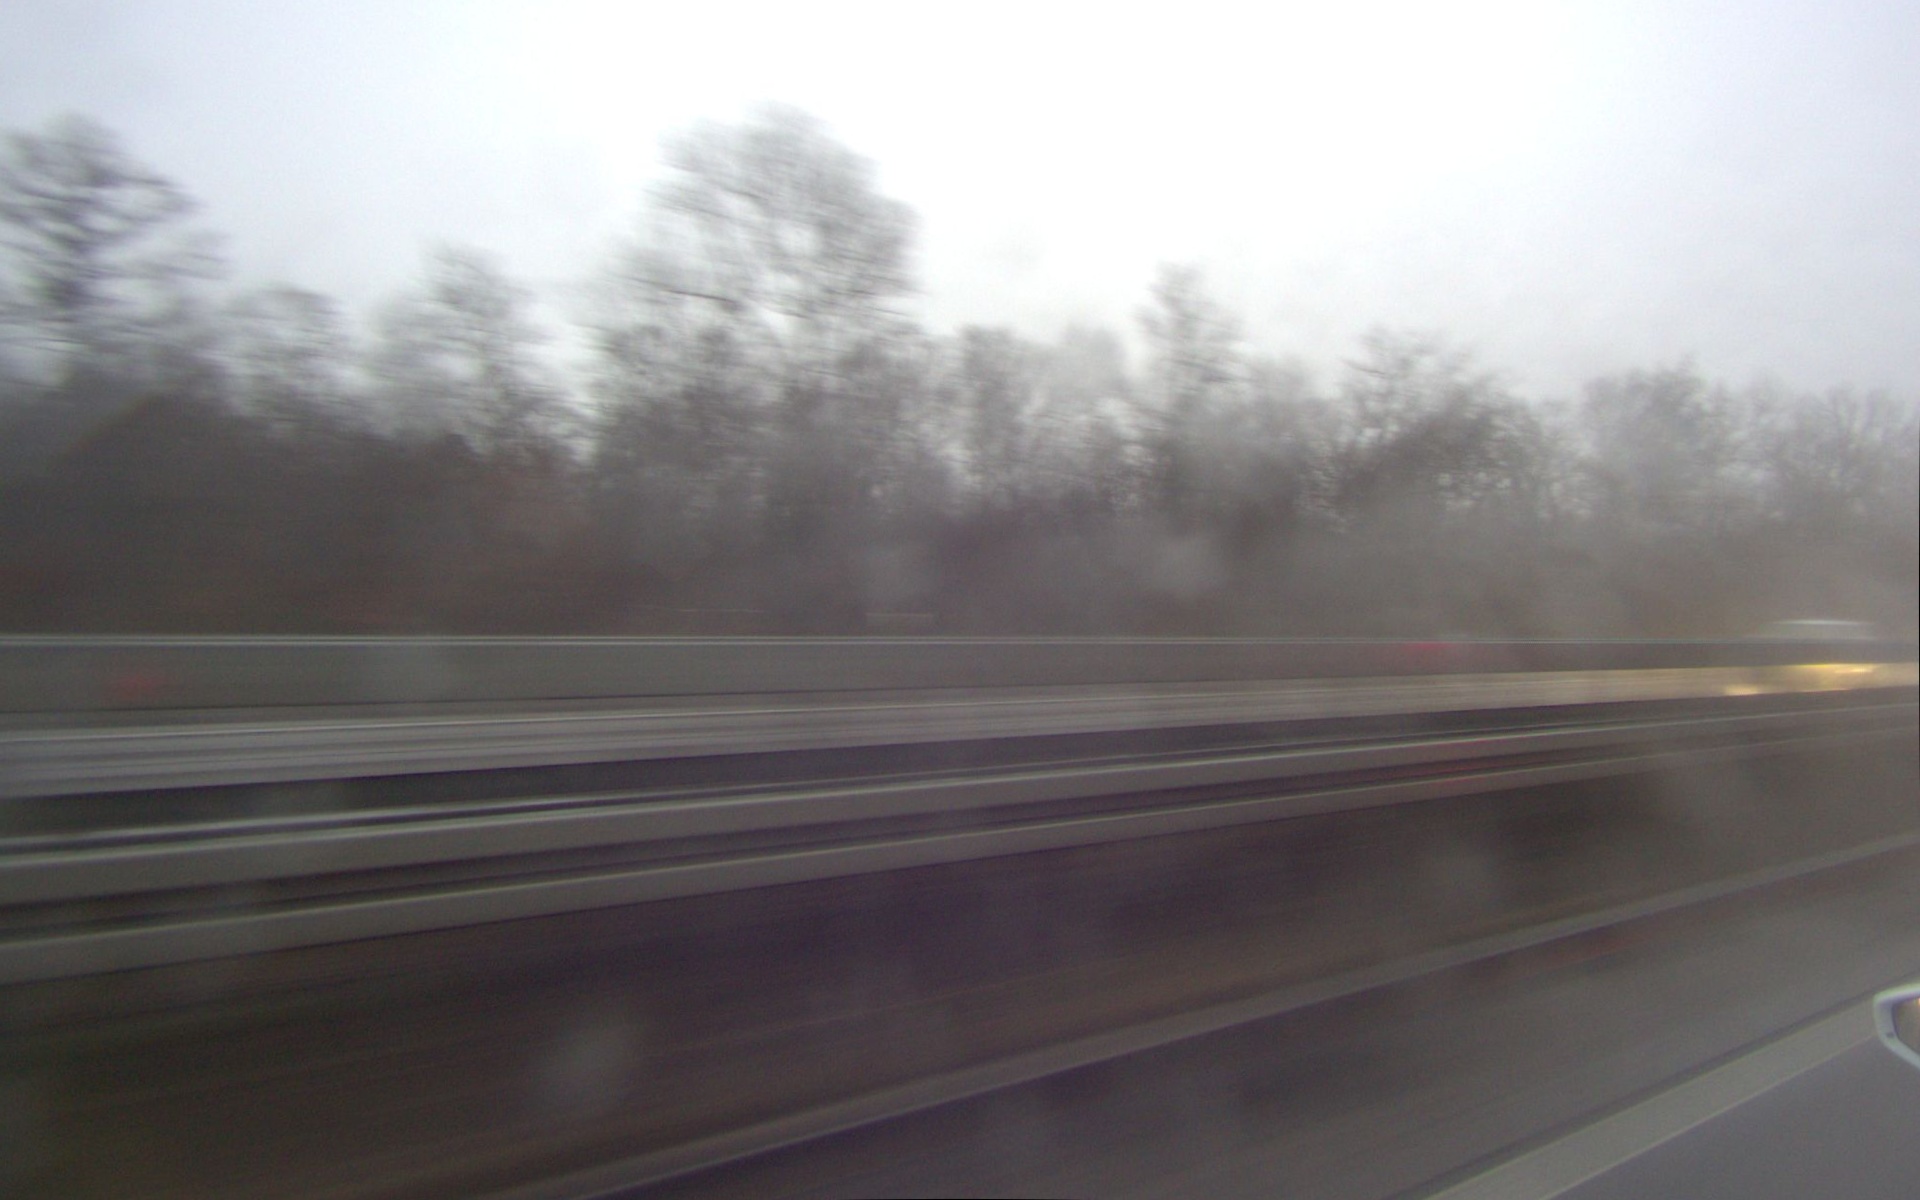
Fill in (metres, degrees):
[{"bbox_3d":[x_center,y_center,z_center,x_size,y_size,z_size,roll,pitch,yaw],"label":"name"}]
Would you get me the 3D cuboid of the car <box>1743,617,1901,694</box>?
[{"bbox_3d":[21.726,1.358,25.284,4.375,1.770,1.711,2,0,-31],"label":"car"}]
